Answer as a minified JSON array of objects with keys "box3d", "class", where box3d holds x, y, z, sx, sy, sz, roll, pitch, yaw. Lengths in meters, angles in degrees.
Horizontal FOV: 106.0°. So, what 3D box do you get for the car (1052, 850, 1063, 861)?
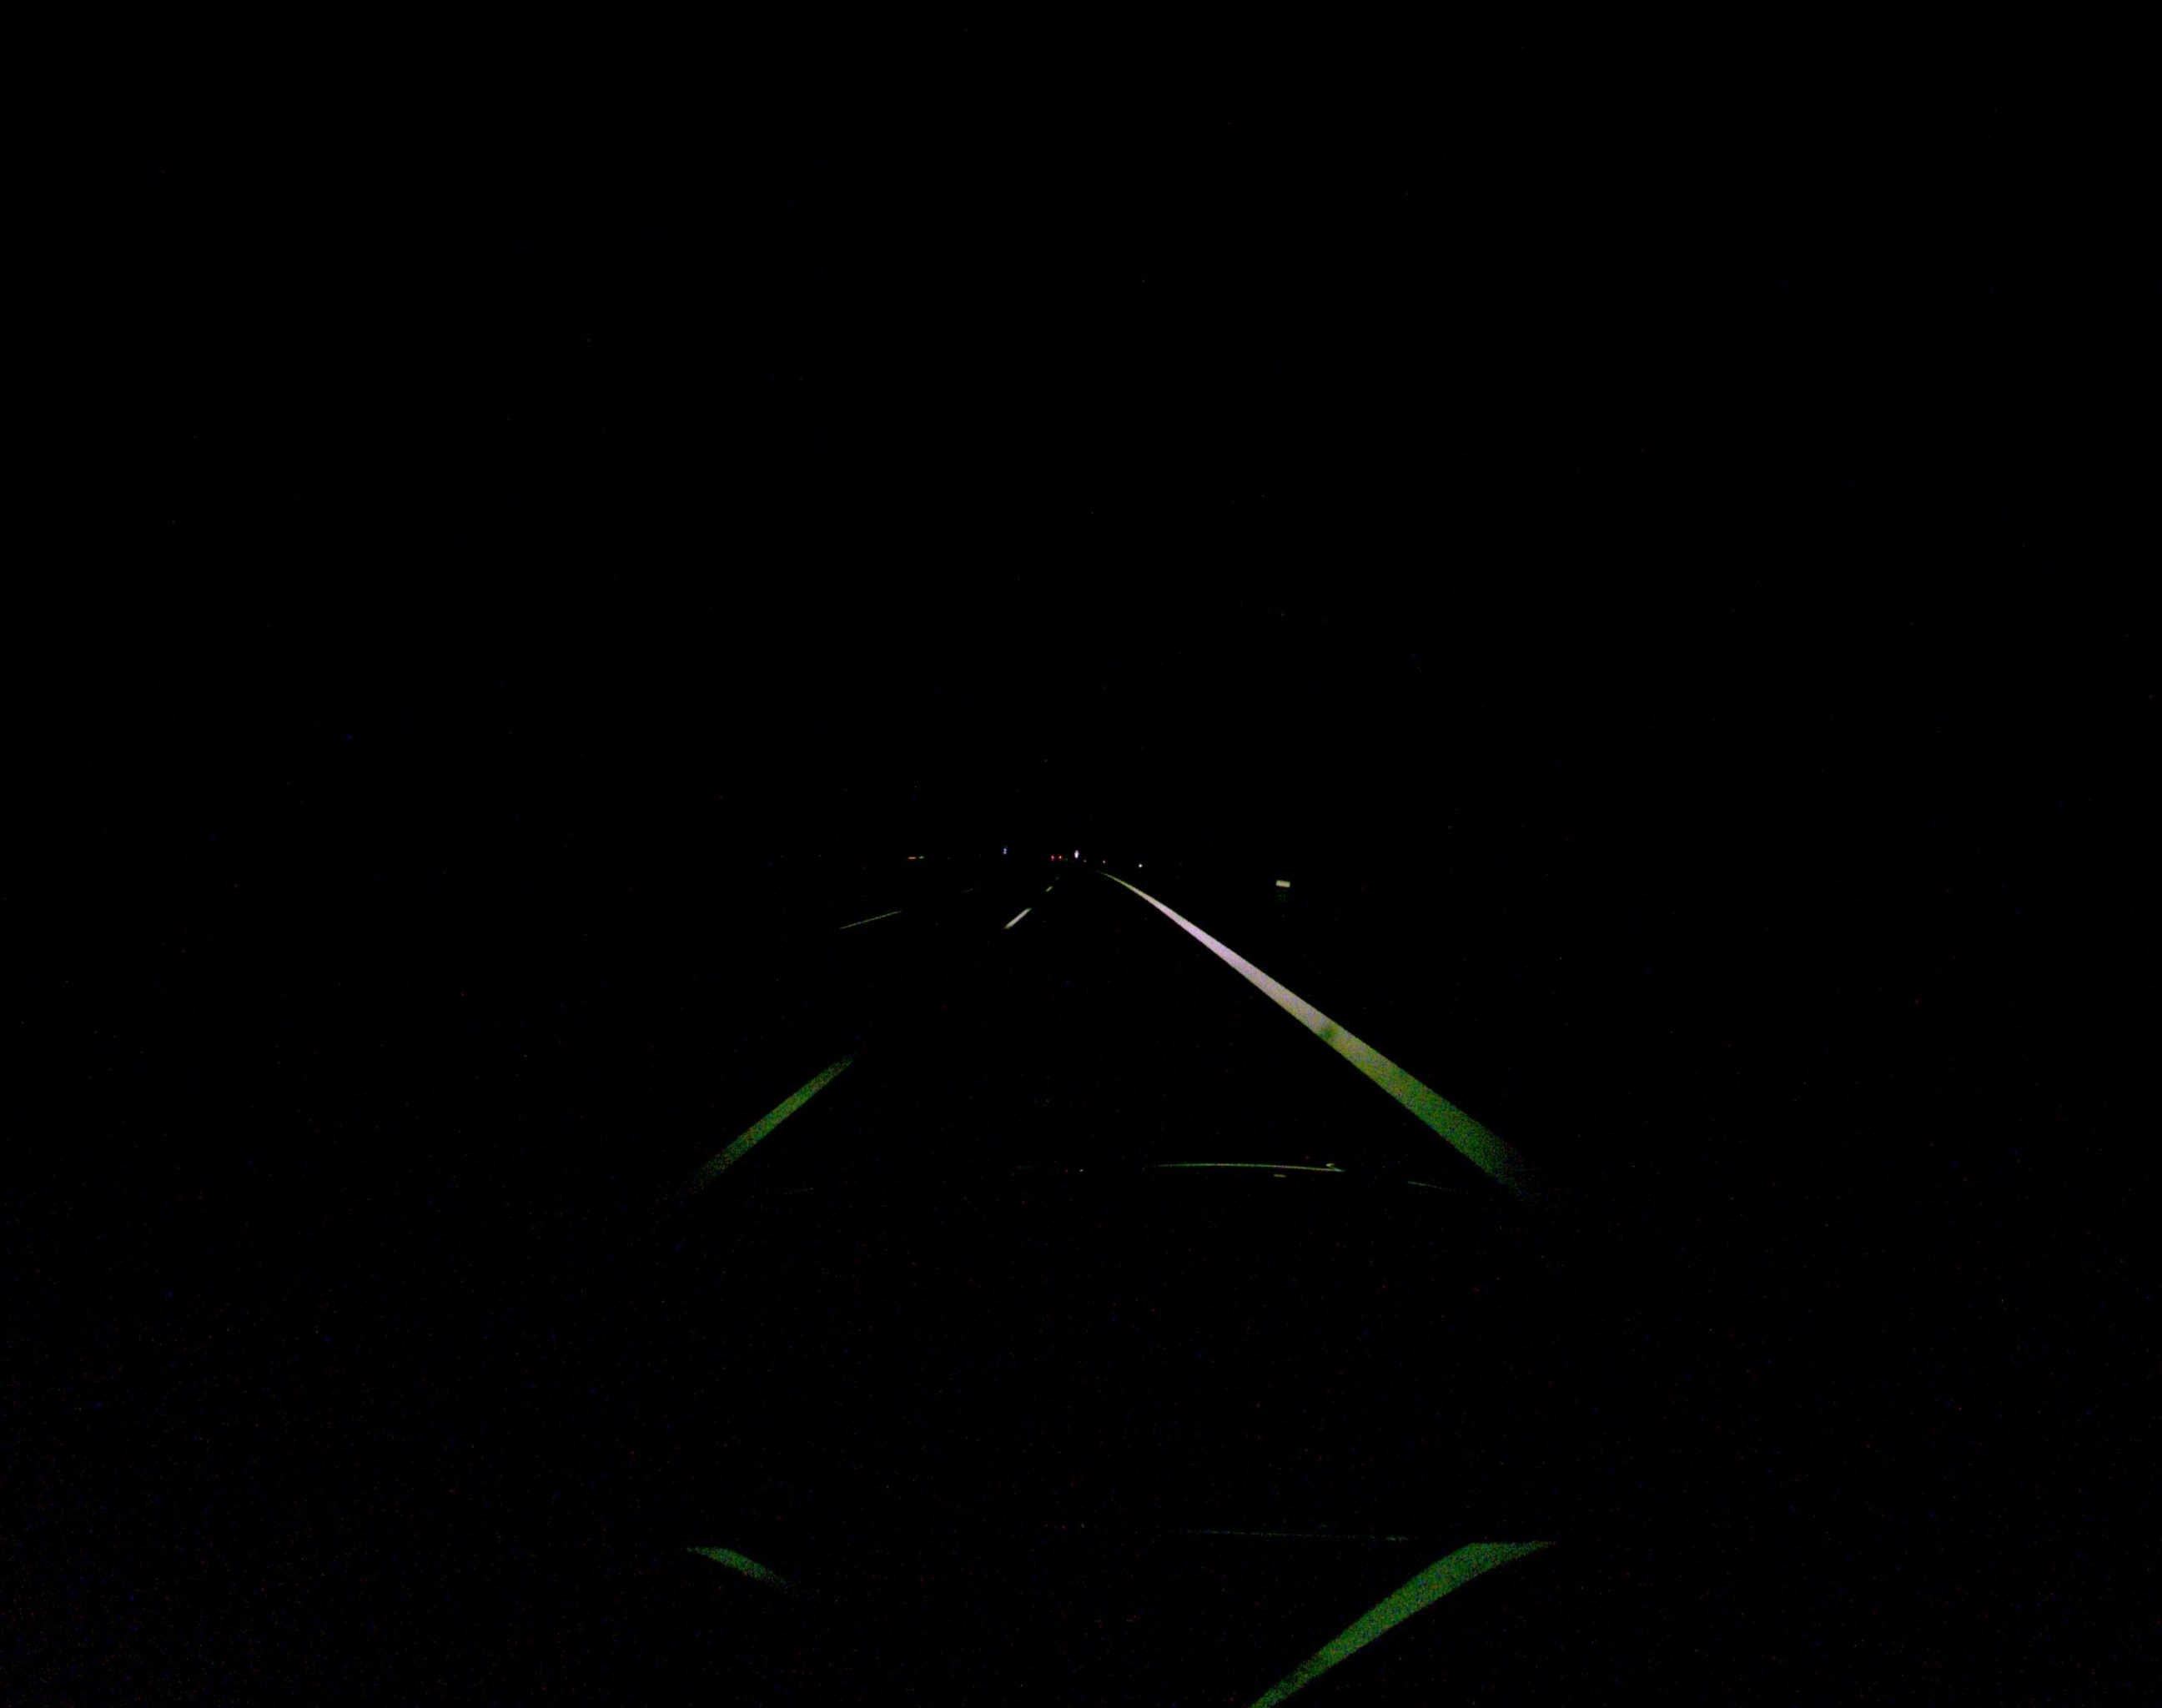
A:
[{"box3d":[-5.542,0.336,191.559,2.521,2.553,6.047,2,-1,-1],"class":"car"}]
